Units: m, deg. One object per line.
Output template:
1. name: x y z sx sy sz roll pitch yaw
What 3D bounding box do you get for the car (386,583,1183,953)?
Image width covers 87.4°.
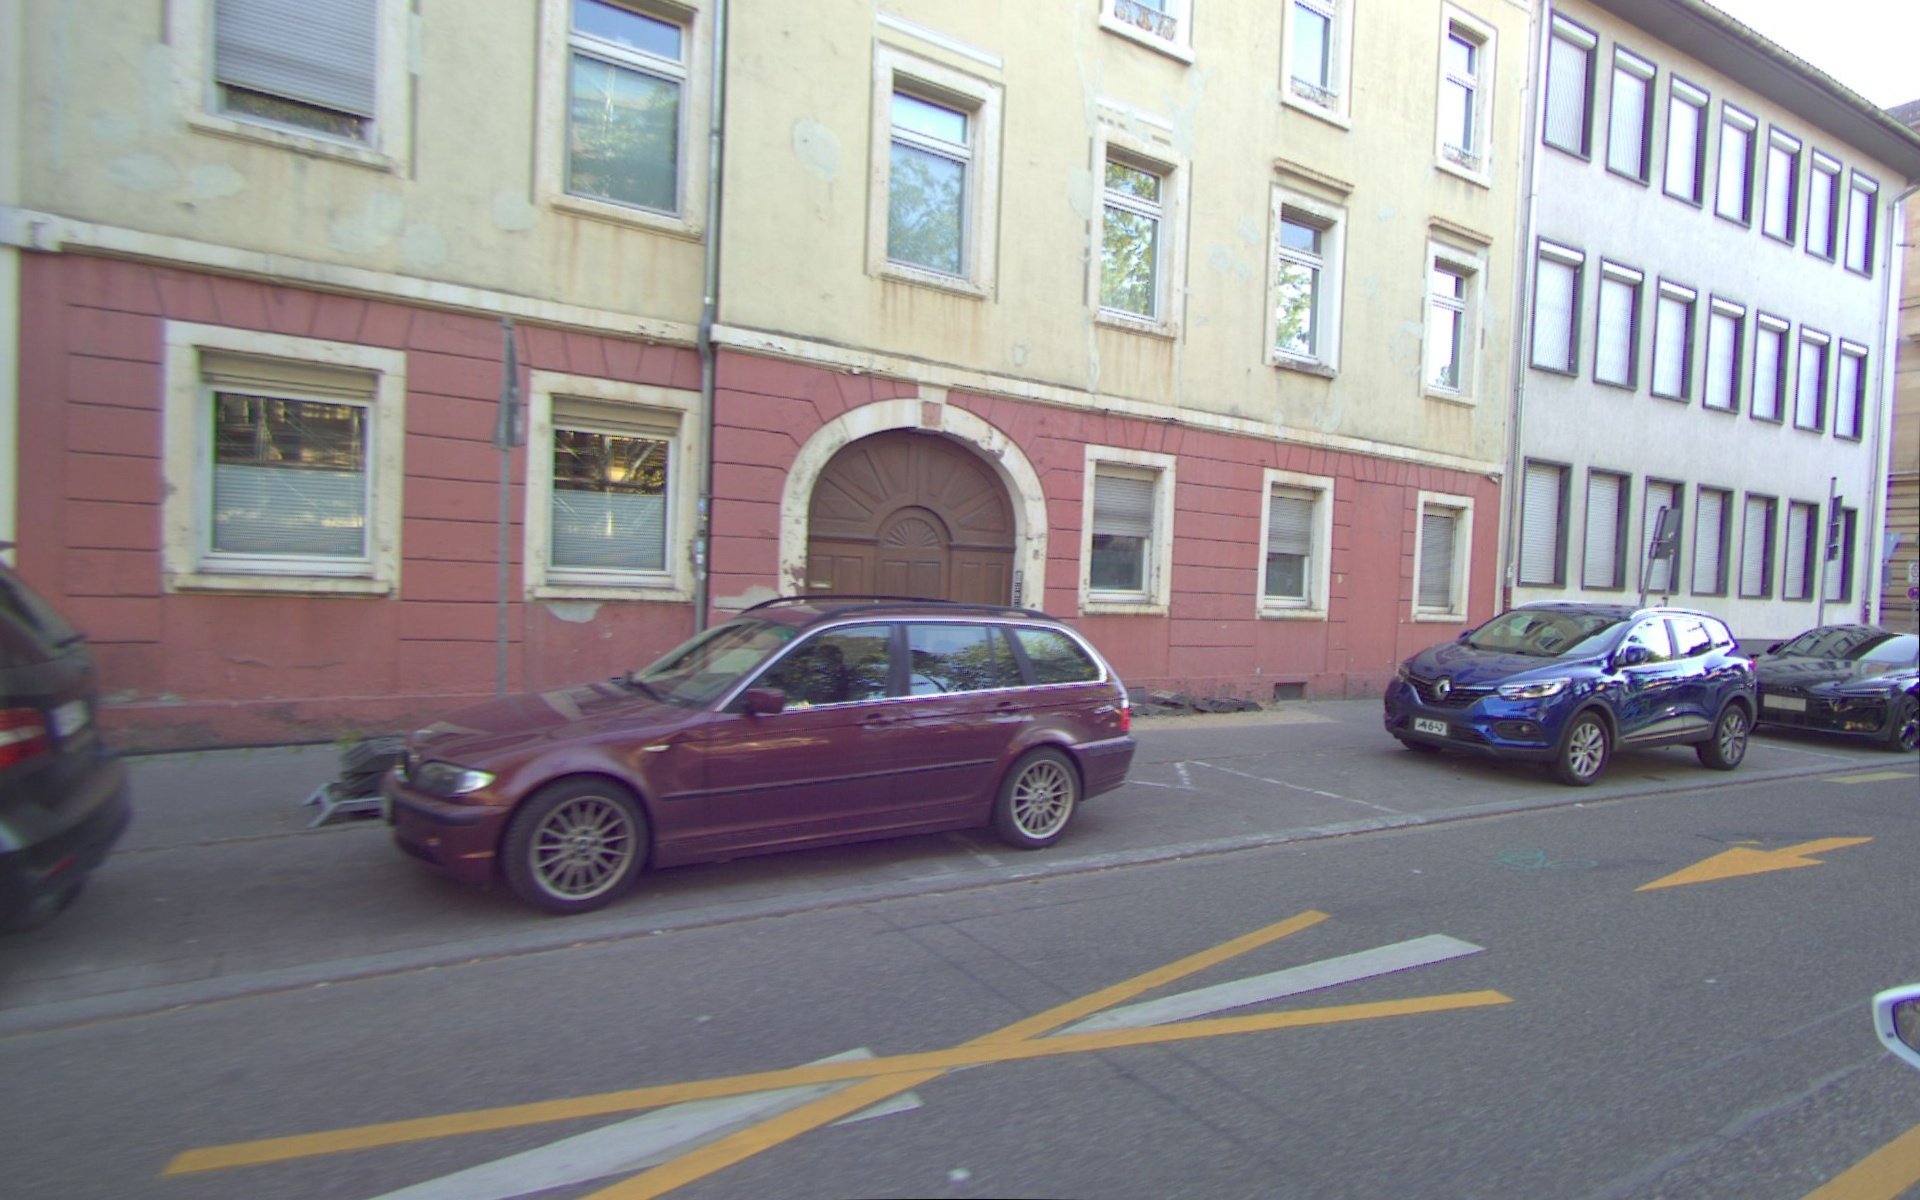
1. car: -0.859 0.718 5.987 4.379 1.500 1.644 1 1 -33

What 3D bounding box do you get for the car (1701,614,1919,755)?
1. car: 12.289 1.046 13.581 4.702 1.524 1.815 1 2 -29

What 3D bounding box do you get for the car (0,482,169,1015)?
1. car: -5.383 0.415 2.835 4.733 1.702 1.911 1 1 -33

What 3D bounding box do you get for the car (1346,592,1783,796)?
1. car: 6.239 0.826 10.299 4.293 1.690 1.925 1 1 -29
